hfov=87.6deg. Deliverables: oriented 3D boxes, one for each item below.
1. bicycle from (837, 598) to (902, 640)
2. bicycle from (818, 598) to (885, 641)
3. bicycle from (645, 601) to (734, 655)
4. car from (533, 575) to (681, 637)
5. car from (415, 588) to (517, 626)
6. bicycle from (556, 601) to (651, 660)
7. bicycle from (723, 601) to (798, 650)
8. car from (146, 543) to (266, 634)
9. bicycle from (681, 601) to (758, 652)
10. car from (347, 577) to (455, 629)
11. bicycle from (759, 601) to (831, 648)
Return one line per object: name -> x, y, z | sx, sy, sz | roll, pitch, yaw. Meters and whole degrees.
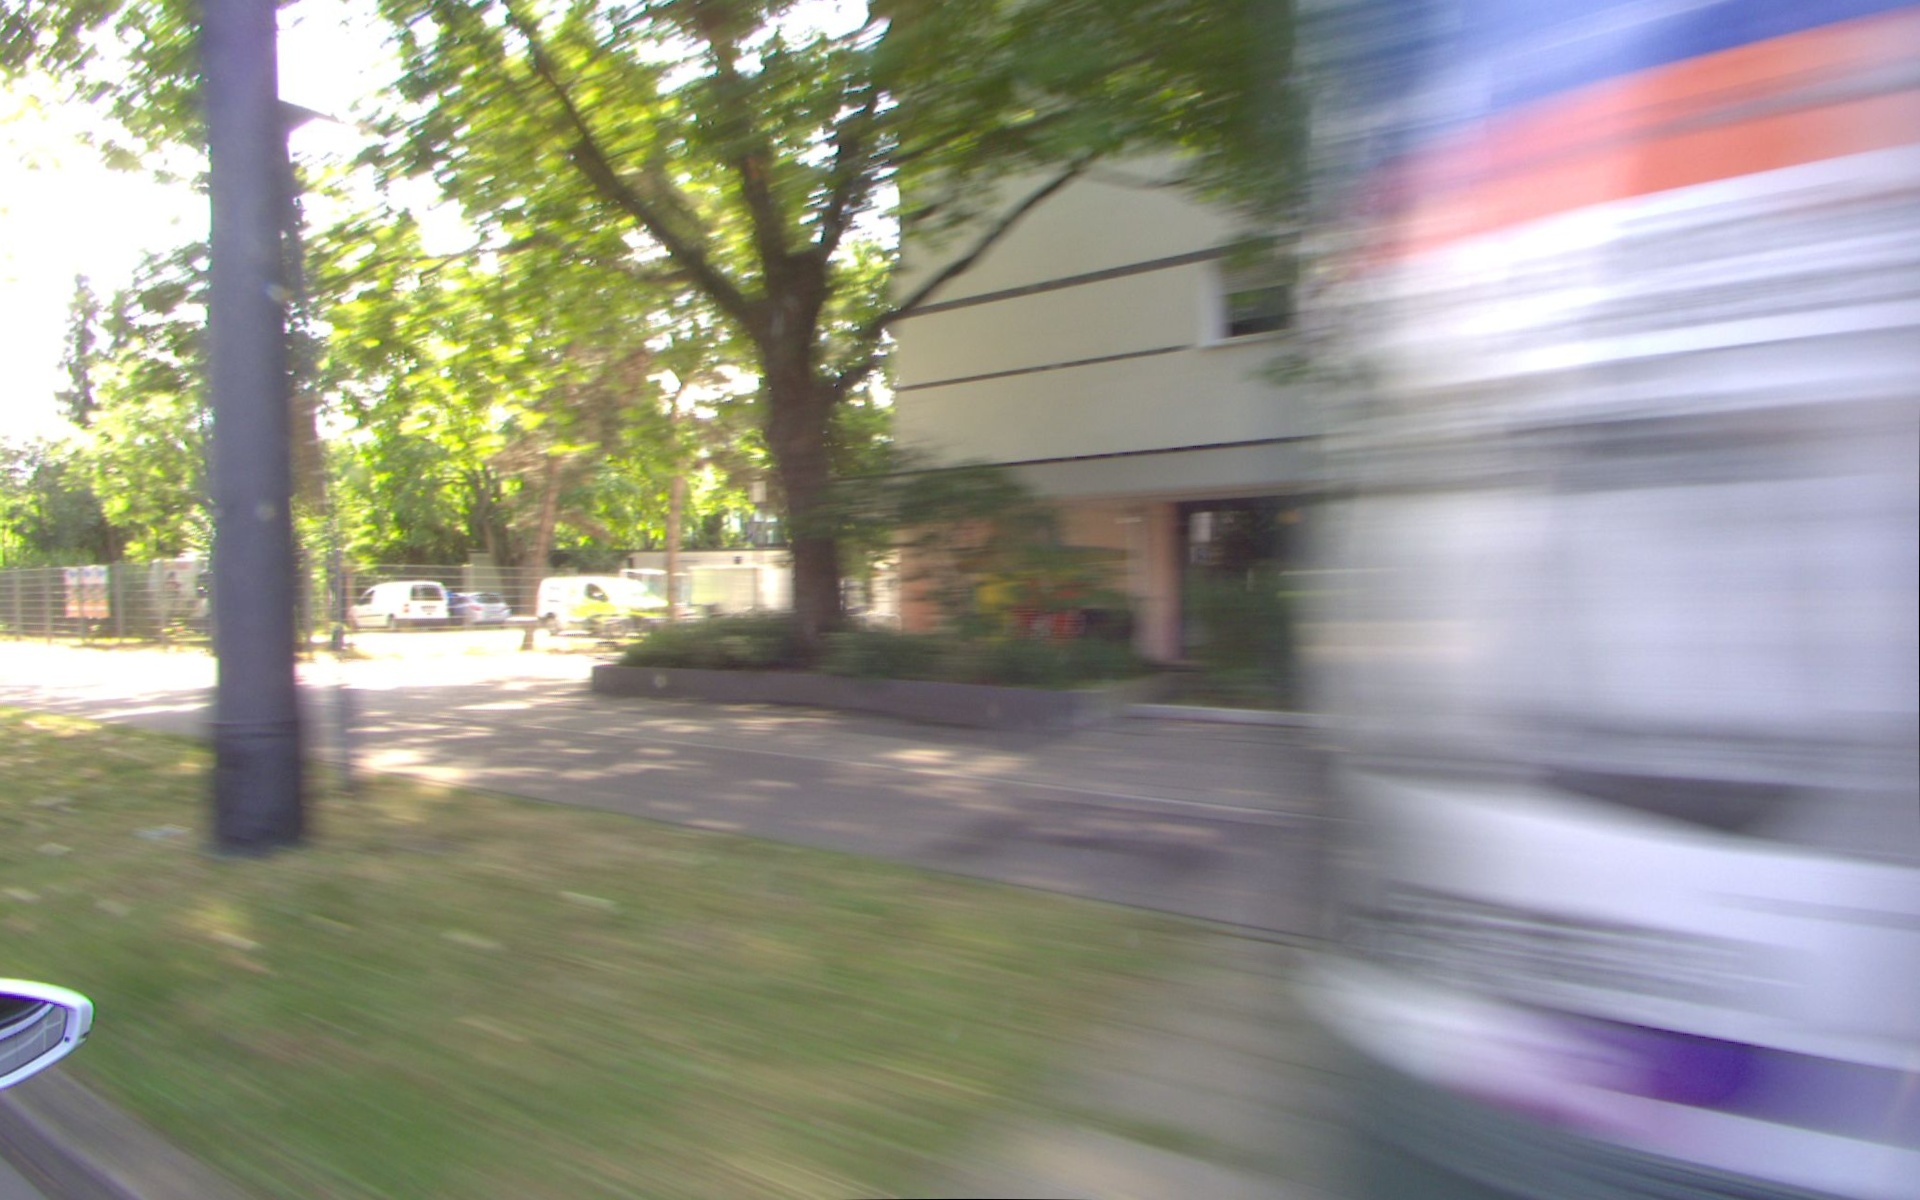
bicycle -> -2.367, 0.478, 26.165 | 1.699, 1.079, 0.514 | 0, 1, 27
bicycle -> -2.750, 0.478, 25.364 | 1.699, 1.079, 0.514 | 0, 1, 27
bicycle -> -5.645, 0.566, 20.865 | 1.925, 1.099, 0.514 | 0, 1, 27
car -> -10.956, 0.173, 30.962 | 4.702, 1.779, 1.733 | 0, 1, 31
car -> -19.396, 0.260, 39.302 | 3.990, 1.421, 1.803 | 0, 0, 33
bicycle -> -6.914, 0.573, 19.413 | 1.808, 1.087, 0.605 | 0, 1, 24
bicycle -> -4.491, 0.560, 22.491 | 1.699, 1.079, 0.514 | 0, 1, 27
car -> -24.872, -0.352, 32.995 | 4.218, 2.812, 1.803 | 0, 1, 33
bicycle -> -5.220, 0.563, 21.737 | 1.699, 1.079, 0.514 | 0, 1, 27
car -> -20.686, 0.112, 37.041 | 4.280, 1.839, 1.802 | 0, 1, 35
bicycle -> -3.923, 0.573, 23.764 | 1.699, 1.079, 0.514 | 0, 1, 27
